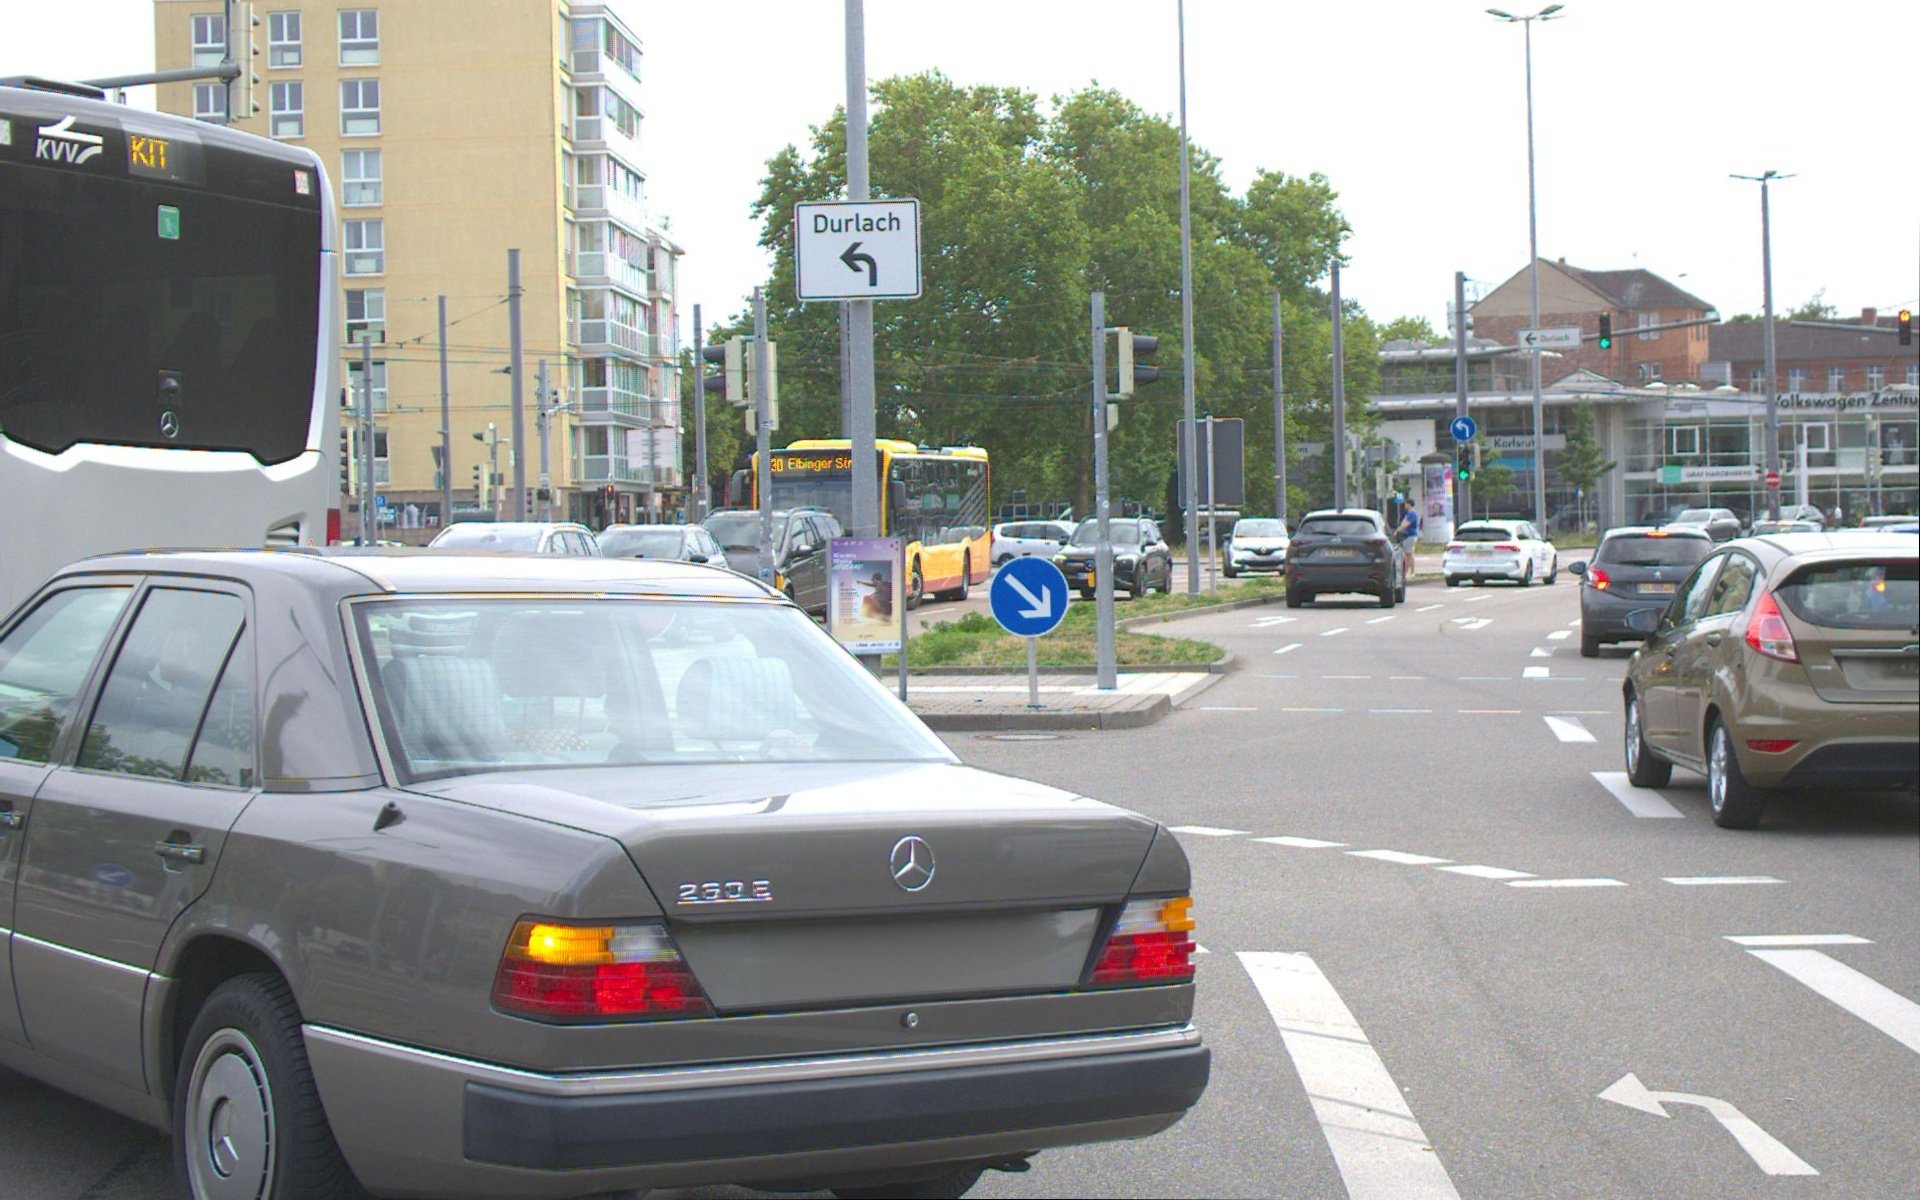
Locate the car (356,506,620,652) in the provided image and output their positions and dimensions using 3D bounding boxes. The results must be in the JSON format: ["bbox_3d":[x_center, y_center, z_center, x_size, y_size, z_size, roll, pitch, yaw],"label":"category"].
[{"bbox_3d":[-5.591,-0.269,41.267,1.994,1.645,4.289,1,1,9],"label":"car"}]

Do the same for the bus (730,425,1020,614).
[{"bbox_3d":[-1.374,-1.488,65.863,3.149,3.244,12.408,1,1,10],"label":"bus"}]

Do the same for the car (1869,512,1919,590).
[{"bbox_3d":[18.085,-0.917,64.955,1.705,1.415,3.698,1,1,14],"label":"car"}]

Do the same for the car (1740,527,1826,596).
[{"bbox_3d":[17.631,-0.830,73.569,1.712,1.415,3.997,1,1,14],"label":"car"}]

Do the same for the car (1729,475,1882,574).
[{"bbox_3d":[12.707,-1.122,51.618,2.134,1.415,3.698,1,1,14],"label":"car"}]

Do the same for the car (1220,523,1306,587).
[{"bbox_3d":[8.119,-1.204,91.894,1.994,1.645,4.511,1,1,9],"label":"car"}]

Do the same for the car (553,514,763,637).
[{"bbox_3d":[-4.230,-0.366,48.764,1.994,1.645,4.289,1,1,9],"label":"car"}]

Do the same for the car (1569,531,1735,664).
[{"bbox_3d":[7.962,-0.055,39.348,1.711,1.415,3.998,1,1,13],"label":"car"}]

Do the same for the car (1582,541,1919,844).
[{"bbox_3d":[4.453,0.406,17.810,1.695,1.400,3.700,1,1,-1],"label":"car"}]

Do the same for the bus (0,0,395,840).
[{"bbox_3d":[-9.458,-0.664,17.106,14.157,3.426,2.710,-2,1,27],"label":"bus"}]

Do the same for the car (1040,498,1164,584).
[{"bbox_3d":[2.886,-1.174,69.060,1.994,1.645,4.511,1,1,9],"label":"car"}]

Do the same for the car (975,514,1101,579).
[{"bbox_3d":[2.450,-1.705,108.422,1.994,2.007,4.000,0,1,-34],"label":"car"}]

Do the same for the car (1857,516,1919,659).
[{"bbox_3d":[11.091,-0.152,38.668,1.859,1.527,4.000,1,1,14],"label":"car"}]

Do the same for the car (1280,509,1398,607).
[{"bbox_3d":[6.567,-0.729,59.353,1.835,1.609,3.545,1,1,9],"label":"car"}]

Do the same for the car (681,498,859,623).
[{"bbox_3d":[-2.978,-0.633,54.825,1.994,1.892,4.289,1,1,9],"label":"car"}]

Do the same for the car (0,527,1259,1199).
[{"bbox_3d":[-1.379,0.580,7.903,1.695,1.475,4.416,0,1,-34],"label":"car"}]

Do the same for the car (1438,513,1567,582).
[{"bbox_3d":[11.636,-1.113,73.510,1.713,1.415,3.995,1,1,24],"label":"car"}]
